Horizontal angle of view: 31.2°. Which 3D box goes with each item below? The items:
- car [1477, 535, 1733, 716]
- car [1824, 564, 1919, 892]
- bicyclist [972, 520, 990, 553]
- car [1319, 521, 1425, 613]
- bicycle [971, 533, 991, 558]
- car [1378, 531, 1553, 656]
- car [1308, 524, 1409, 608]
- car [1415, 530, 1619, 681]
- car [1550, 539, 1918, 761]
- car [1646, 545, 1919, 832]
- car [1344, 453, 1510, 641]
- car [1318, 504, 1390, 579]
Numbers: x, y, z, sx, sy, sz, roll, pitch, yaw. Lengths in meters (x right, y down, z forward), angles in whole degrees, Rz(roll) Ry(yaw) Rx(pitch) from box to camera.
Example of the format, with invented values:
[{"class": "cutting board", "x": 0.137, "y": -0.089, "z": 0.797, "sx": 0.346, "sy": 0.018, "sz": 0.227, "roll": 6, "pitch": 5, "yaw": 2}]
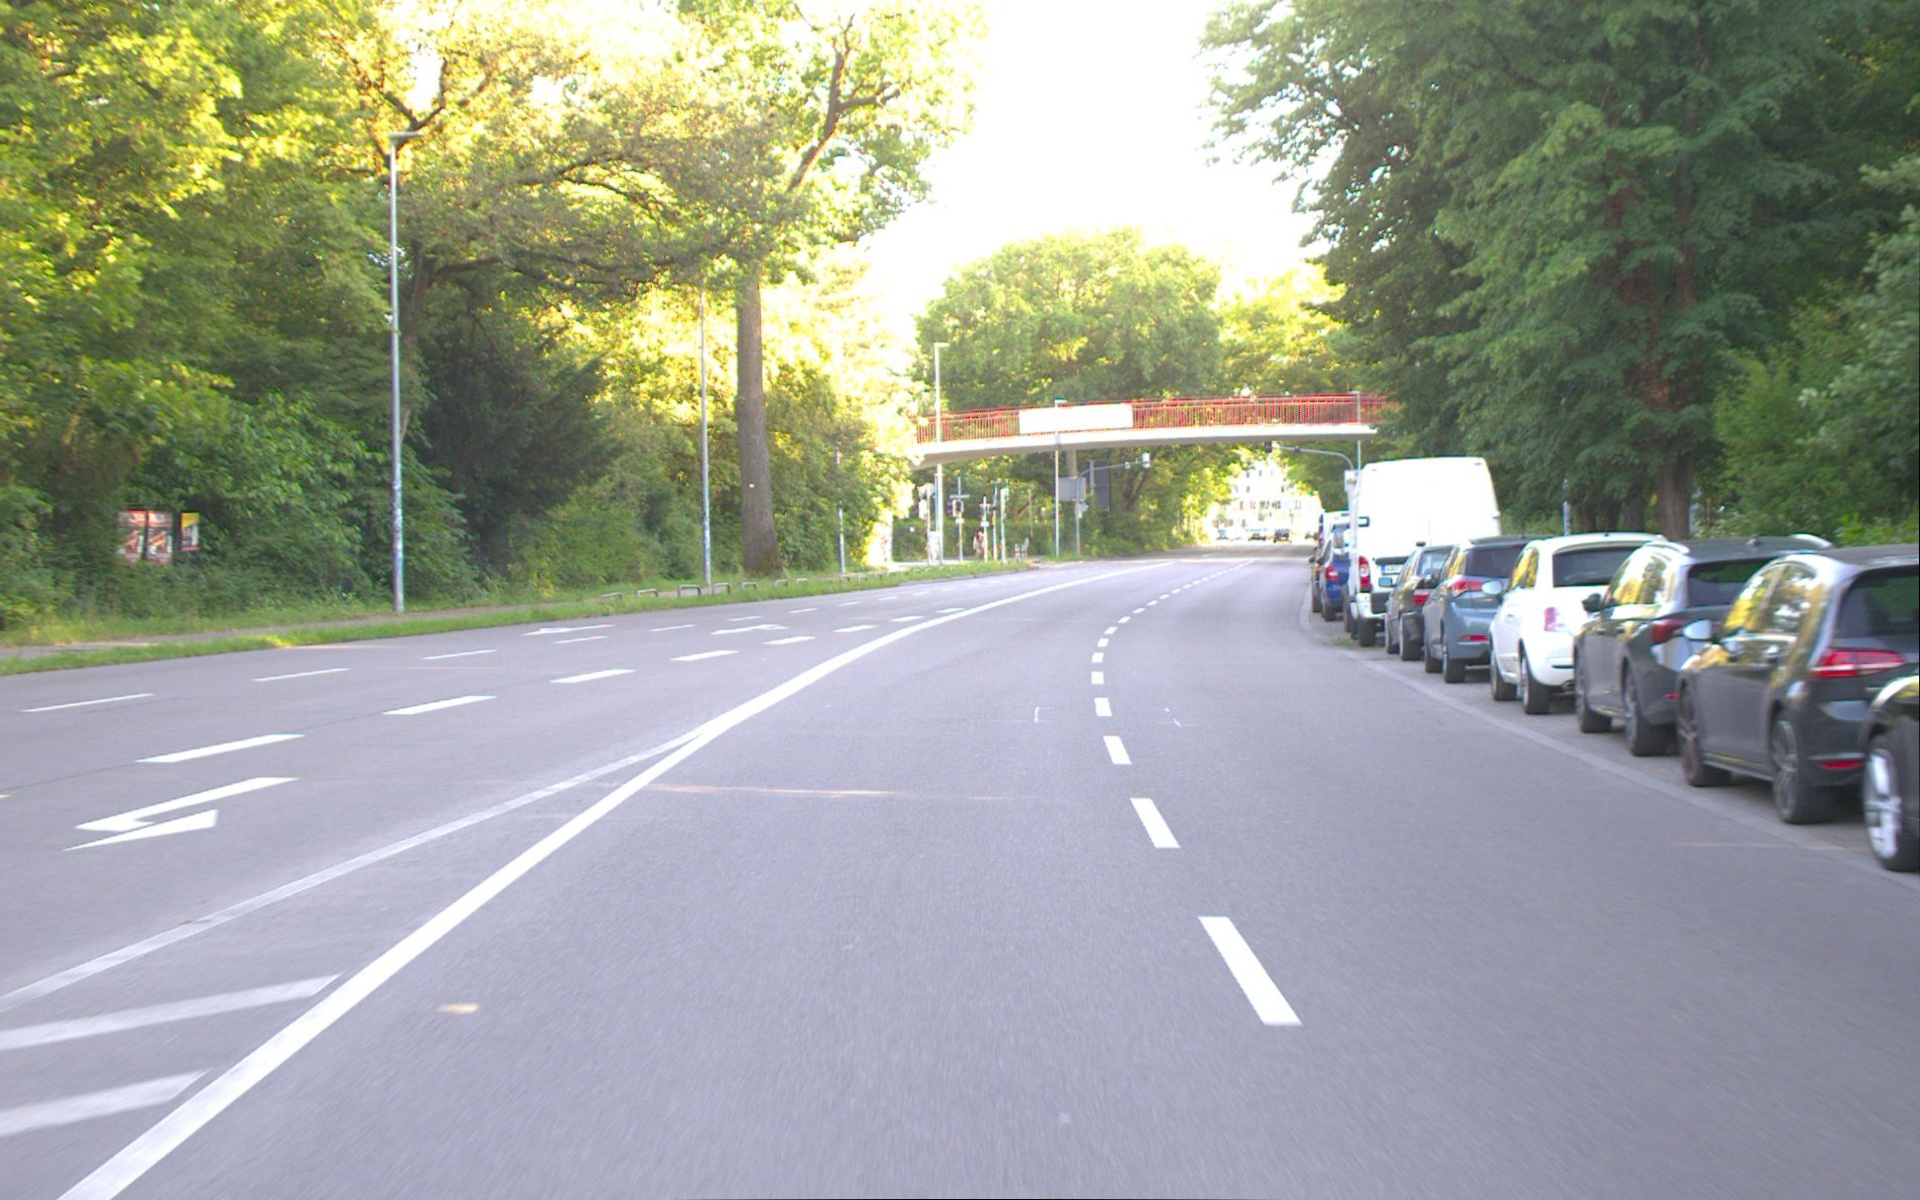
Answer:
[{"class": "car", "x": 5.622, "y": 0.188, "z": 30.353, "sx": 1.677, "sy": 1.459, "sz": 3.689, "roll": -1, "pitch": 1, "yaw": 2}, {"class": "car", "x": 5.008, "y": 0.551, "z": 14.132, "sx": 1.718, "sy": 1.407, "sz": 4.488, "roll": -2, "pitch": 1, "yaw": 0}, {"class": "bicyclist", "x": 0.999, "y": -2.990, "z": 162.175, "sx": 0.712, "sy": 1.553, "sz": 1.142, "roll": 1, "pitch": 0, "yaw": 6}, {"class": "car", "x": 7.259, "y": -0.597, "z": 60.895, "sx": 1.678, "sy": 1.530, "sz": 4.353, "roll": -1, "pitch": 1, "yaw": 5}, {"class": "bicycle", "x": 1.001, "y": -2.560, "z": 162.179, "sx": 0.712, "sy": 1.143, "sz": 1.993, "roll": 1, "pitch": 1, "yaw": 6}, {"class": "car", "x": 6.099, "y": -0.107, "z": 41.892, "sx": 1.677, "sy": 1.396, "sz": 4.650, "roll": -1, "pitch": 1, "yaw": 3}, {"class": "car", "x": 7.685, "y": -0.669, "z": 66.649, "sx": 1.759, "sy": 1.530, "sz": 4.988, "roll": -1, "pitch": 1, "yaw": 5}, {"class": "car", "x": 5.794, "y": 0.027, "z": 36.155, "sx": 1.677, "sy": 1.459, "sz": 4.066, "roll": -1, "pitch": 1, "yaw": 3}, {"class": "car", "x": 5.471, "y": 0.290, "z": 24.881, "sx": 1.718, "sy": 1.407, "sz": 4.906, "roll": -1, "pitch": 1, "yaw": 2}, {"class": "car", "x": 5.184, "y": 0.410, "z": 19.518, "sx": 1.718, "sy": 1.407, "sz": 4.487, "roll": -2, "pitch": 1, "yaw": 1}, {"class": "car", "x": 6.444, "y": -0.736, "z": 47.943, "sx": 1.904, "sy": 2.415, "sz": 5.575, "roll": -1, "pitch": 1, "yaw": 4}, {"class": "car", "x": 10.964, "y": -1.630, "z": 95.631, "sx": 1.869, "sy": 1.974, "sz": 5.473, "roll": -1, "pitch": 1, "yaw": 7}]
